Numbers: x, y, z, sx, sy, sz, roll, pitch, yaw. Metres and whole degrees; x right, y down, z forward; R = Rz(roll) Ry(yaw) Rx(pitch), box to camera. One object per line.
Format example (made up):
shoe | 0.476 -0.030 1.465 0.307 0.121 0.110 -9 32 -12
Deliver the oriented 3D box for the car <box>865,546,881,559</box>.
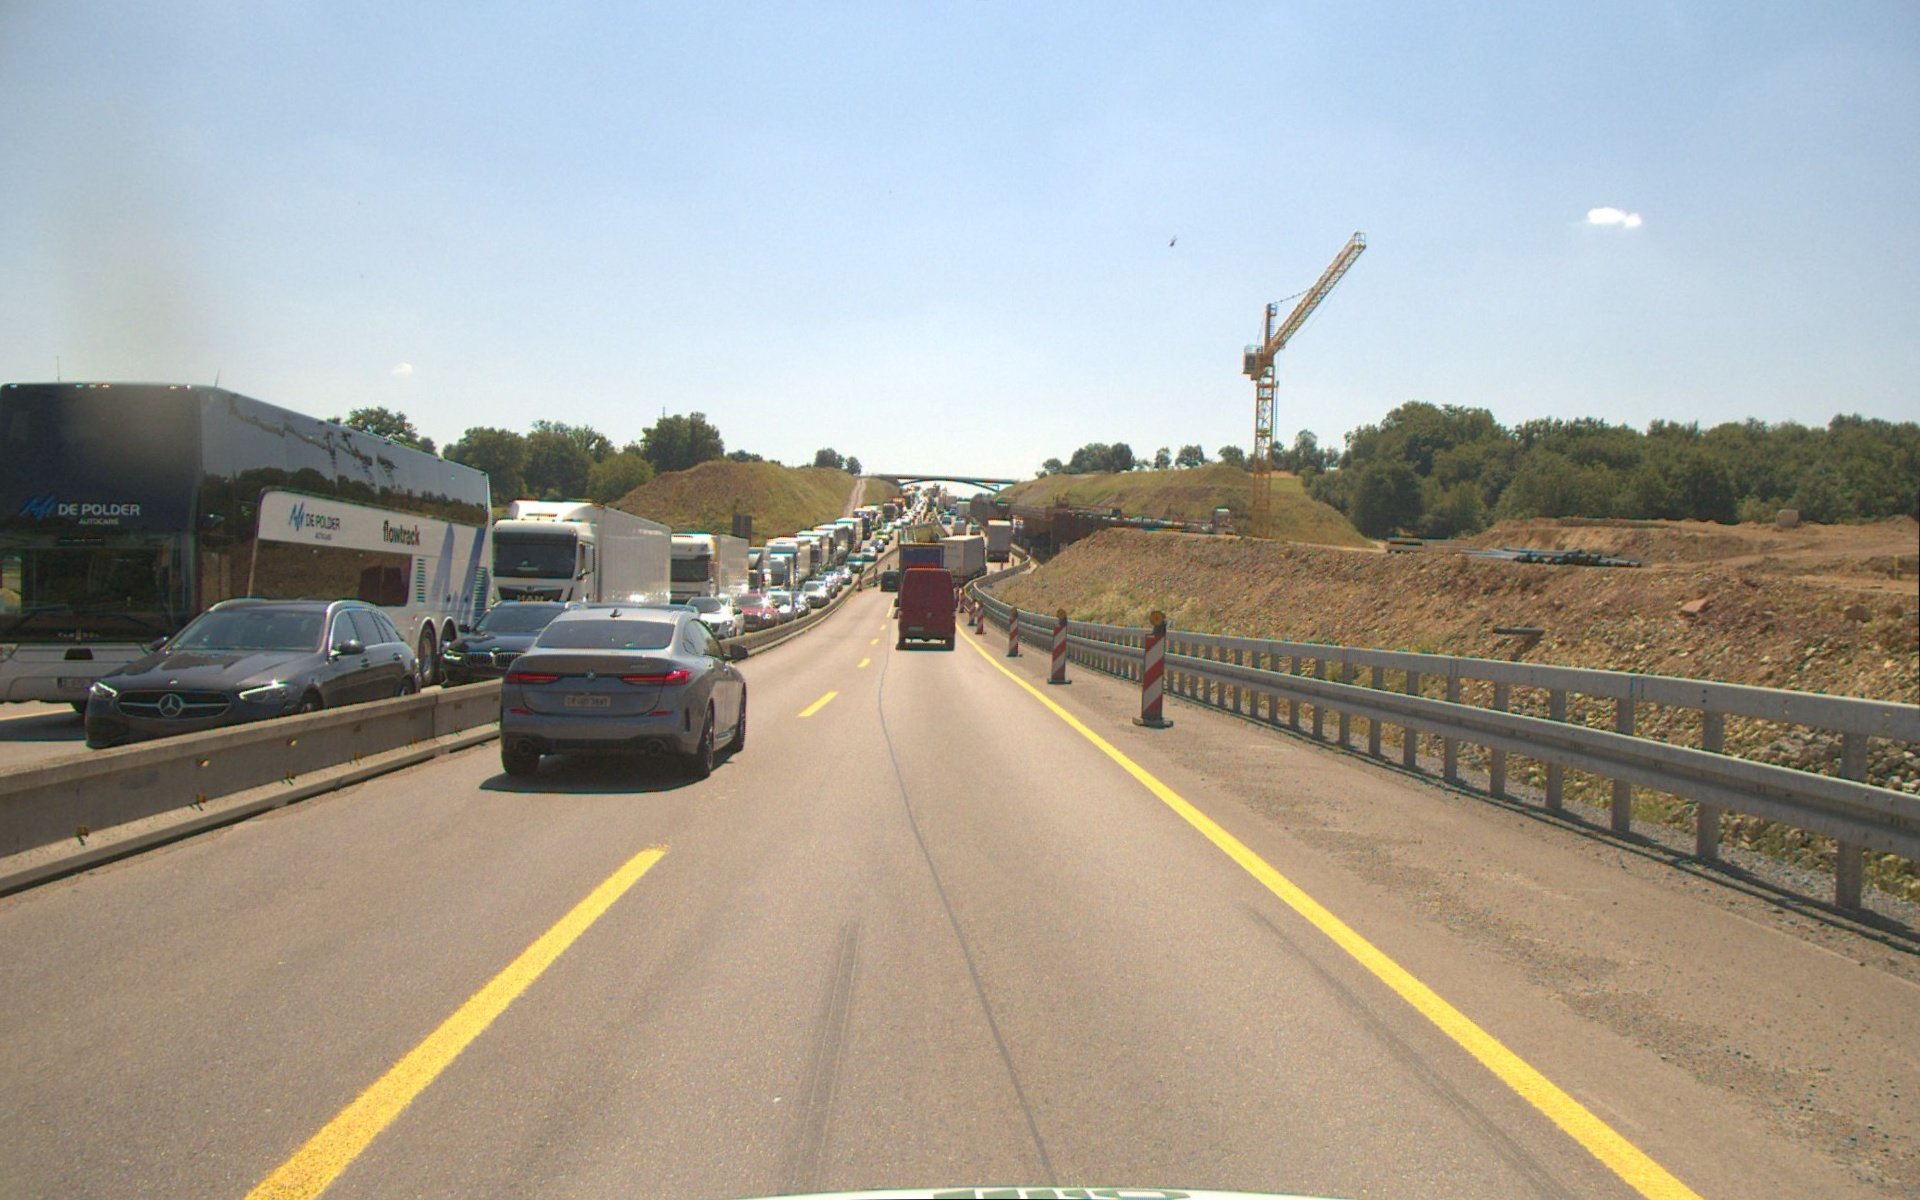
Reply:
car | -10.823 -5.883 206.346 1.913 1.556 4.266 1 1 -2

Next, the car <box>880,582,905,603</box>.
car | -5.484 -0.602 133.510 1.972 1.572 4.130 1 1 -3

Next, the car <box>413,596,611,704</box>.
car | -6.983 0.713 26.365 1.879 1.448 5.089 2 1 -2

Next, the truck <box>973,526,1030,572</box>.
truck | 5.015 -5.961 195.382 5.050 5.084 13.888 -1 1 8

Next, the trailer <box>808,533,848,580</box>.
trailer | -13.715 -4.538 172.843 2.980 4.631 12.130 1 1 1

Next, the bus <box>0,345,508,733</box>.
bus | -10.156 -0.667 25.823 2.684 4.338 14.469 1 0 -2

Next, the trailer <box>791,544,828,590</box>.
trailer | -13.787 -2.963 152.353 2.727 4.000 11.004 1 0 -2

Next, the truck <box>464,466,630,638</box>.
truck | -11.002 -1.248 44.766 3.035 4.271 6.698 1 1 -3

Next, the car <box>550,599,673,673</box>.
car | -7.330 0.724 35.210 1.796 1.448 4.680 1 0 -3

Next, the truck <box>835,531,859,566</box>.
truck | -13.113 -5.924 192.091 2.630 3.906 7.382 1 1 -4

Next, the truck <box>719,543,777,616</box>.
truck | -12.036 -1.189 94.437 2.474 3.923 8.667 1 1 -2

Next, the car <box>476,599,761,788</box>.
car | -3.008 0.747 15.575 1.814 1.477 4.740 0 0 -2

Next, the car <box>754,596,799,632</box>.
car | -8.469 0.659 76.598 1.790 1.601 3.998 1 0 -2

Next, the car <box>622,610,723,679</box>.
car | -7.178 1.059 41.747 1.776 1.462 5.119 2 1 -2

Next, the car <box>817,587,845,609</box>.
car | -9.423 -0.144 120.939 1.790 1.562 4.544 -1 0 -2

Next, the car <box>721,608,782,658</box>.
car | -8.098 1.266 64.568 1.954 1.659 4.756 2 1 -3

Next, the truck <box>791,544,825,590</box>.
truck | -13.473 -2.923 146.710 2.727 3.937 5.457 1 0 -3

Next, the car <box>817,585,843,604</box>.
car | -10.284 -0.440 131.099 1.864 1.400 4.545 -2 1 -2

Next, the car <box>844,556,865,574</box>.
car | -10.427 -3.458 163.419 1.954 1.814 3.998 1 1 -3

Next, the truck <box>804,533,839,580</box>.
truck | -13.920 -4.406 166.665 2.989 4.558 5.981 1 2 0

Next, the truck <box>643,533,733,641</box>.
truck | -11.268 -0.528 69.028 2.917 4.258 5.872 1 0 -2

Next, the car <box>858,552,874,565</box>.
car | -10.536 -4.620 185.688 1.711 1.433 3.999 1 1 -2

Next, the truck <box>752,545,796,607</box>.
truck | -13.342 -1.758 118.998 2.499 4.304 6.529 1 2 -2

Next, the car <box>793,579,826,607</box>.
car | -9.576 -0.437 105.367 1.790 1.680 4.544 2 0 -2

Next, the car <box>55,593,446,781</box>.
car | -6.598 0.708 16.075 1.801 1.469 4.928 1 1 -2

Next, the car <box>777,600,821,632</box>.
car | -8.547 0.838 88.027 1.953 1.584 4.337 -1 0 -2

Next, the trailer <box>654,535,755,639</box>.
trailer | -11.532 -0.591 76.101 2.926 4.282 13.940 1 0 -2

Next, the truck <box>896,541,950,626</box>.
truck | -2.135 -1.006 96.375 2.959 4.774 6.931 -1 1 -1

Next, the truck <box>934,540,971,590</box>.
truck | -0.675 -3.041 145.106 2.977 4.172 7.081 0 0 -2

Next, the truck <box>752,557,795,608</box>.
truck | -12.290 -1.196 109.137 2.385 3.203 7.020 0 2 -3

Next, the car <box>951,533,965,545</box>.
car | -0.318 -9.377 254.119 1.913 1.669 4.266 1 0 -2

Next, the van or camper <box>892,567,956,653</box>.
van or camper | -1.272 0.300 57.044 1.989 2.792 4.513 1 1 -3

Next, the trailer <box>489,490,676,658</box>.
trailer | -11.299 -0.750 51.230 3.077 4.460 14.072 1 0 -2

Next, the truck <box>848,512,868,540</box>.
truck | -15.028 -10.890 244.482 2.830 3.906 7.997 1 1 -4

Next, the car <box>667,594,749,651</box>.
car | -7.771 0.658 51.359 1.954 1.648 4.879 -1 0 -3
